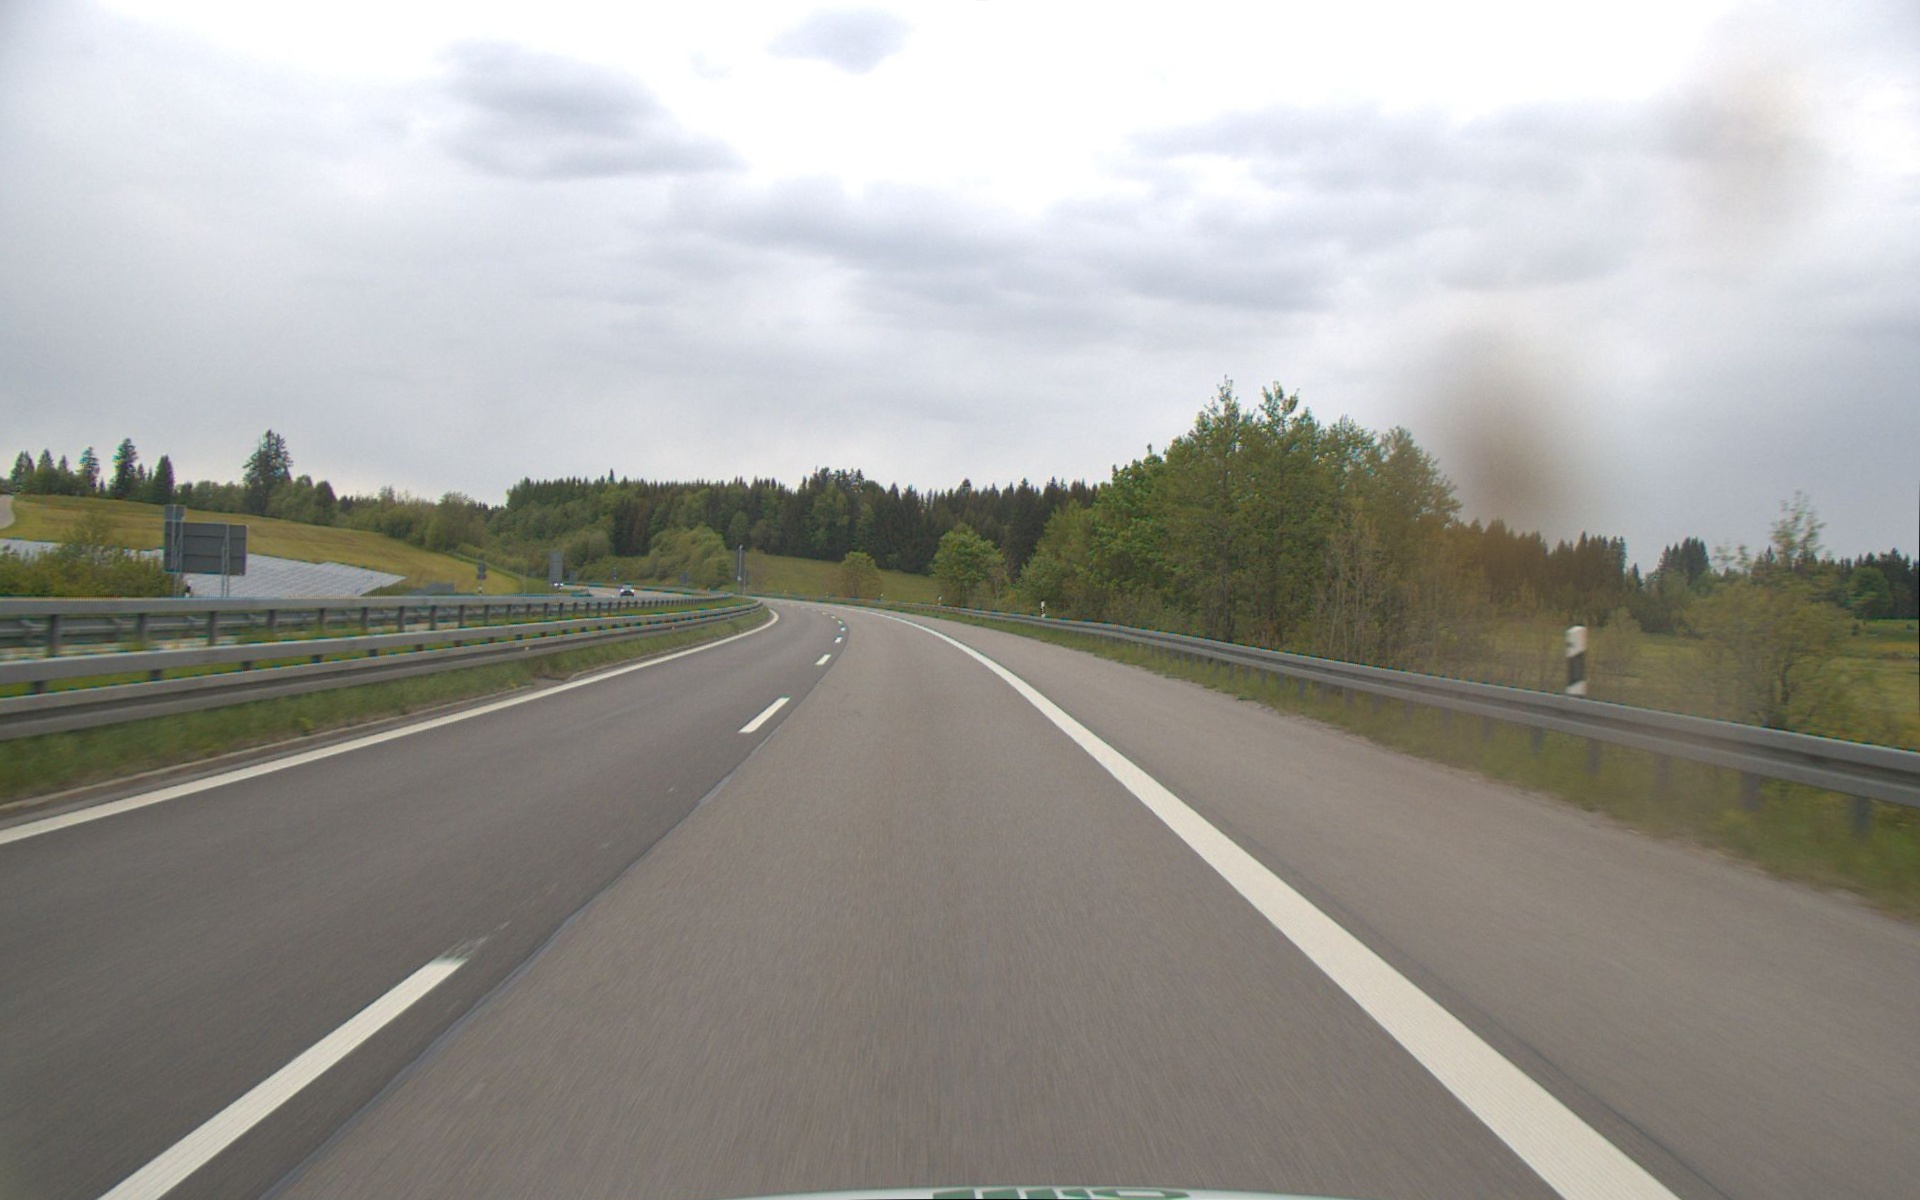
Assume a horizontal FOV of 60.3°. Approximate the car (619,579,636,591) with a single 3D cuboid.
[{"bbox_3d":[-44.735,-1.989,222.631,1.957,1.524,4.142,4,0,-9],"label":"car"}]
